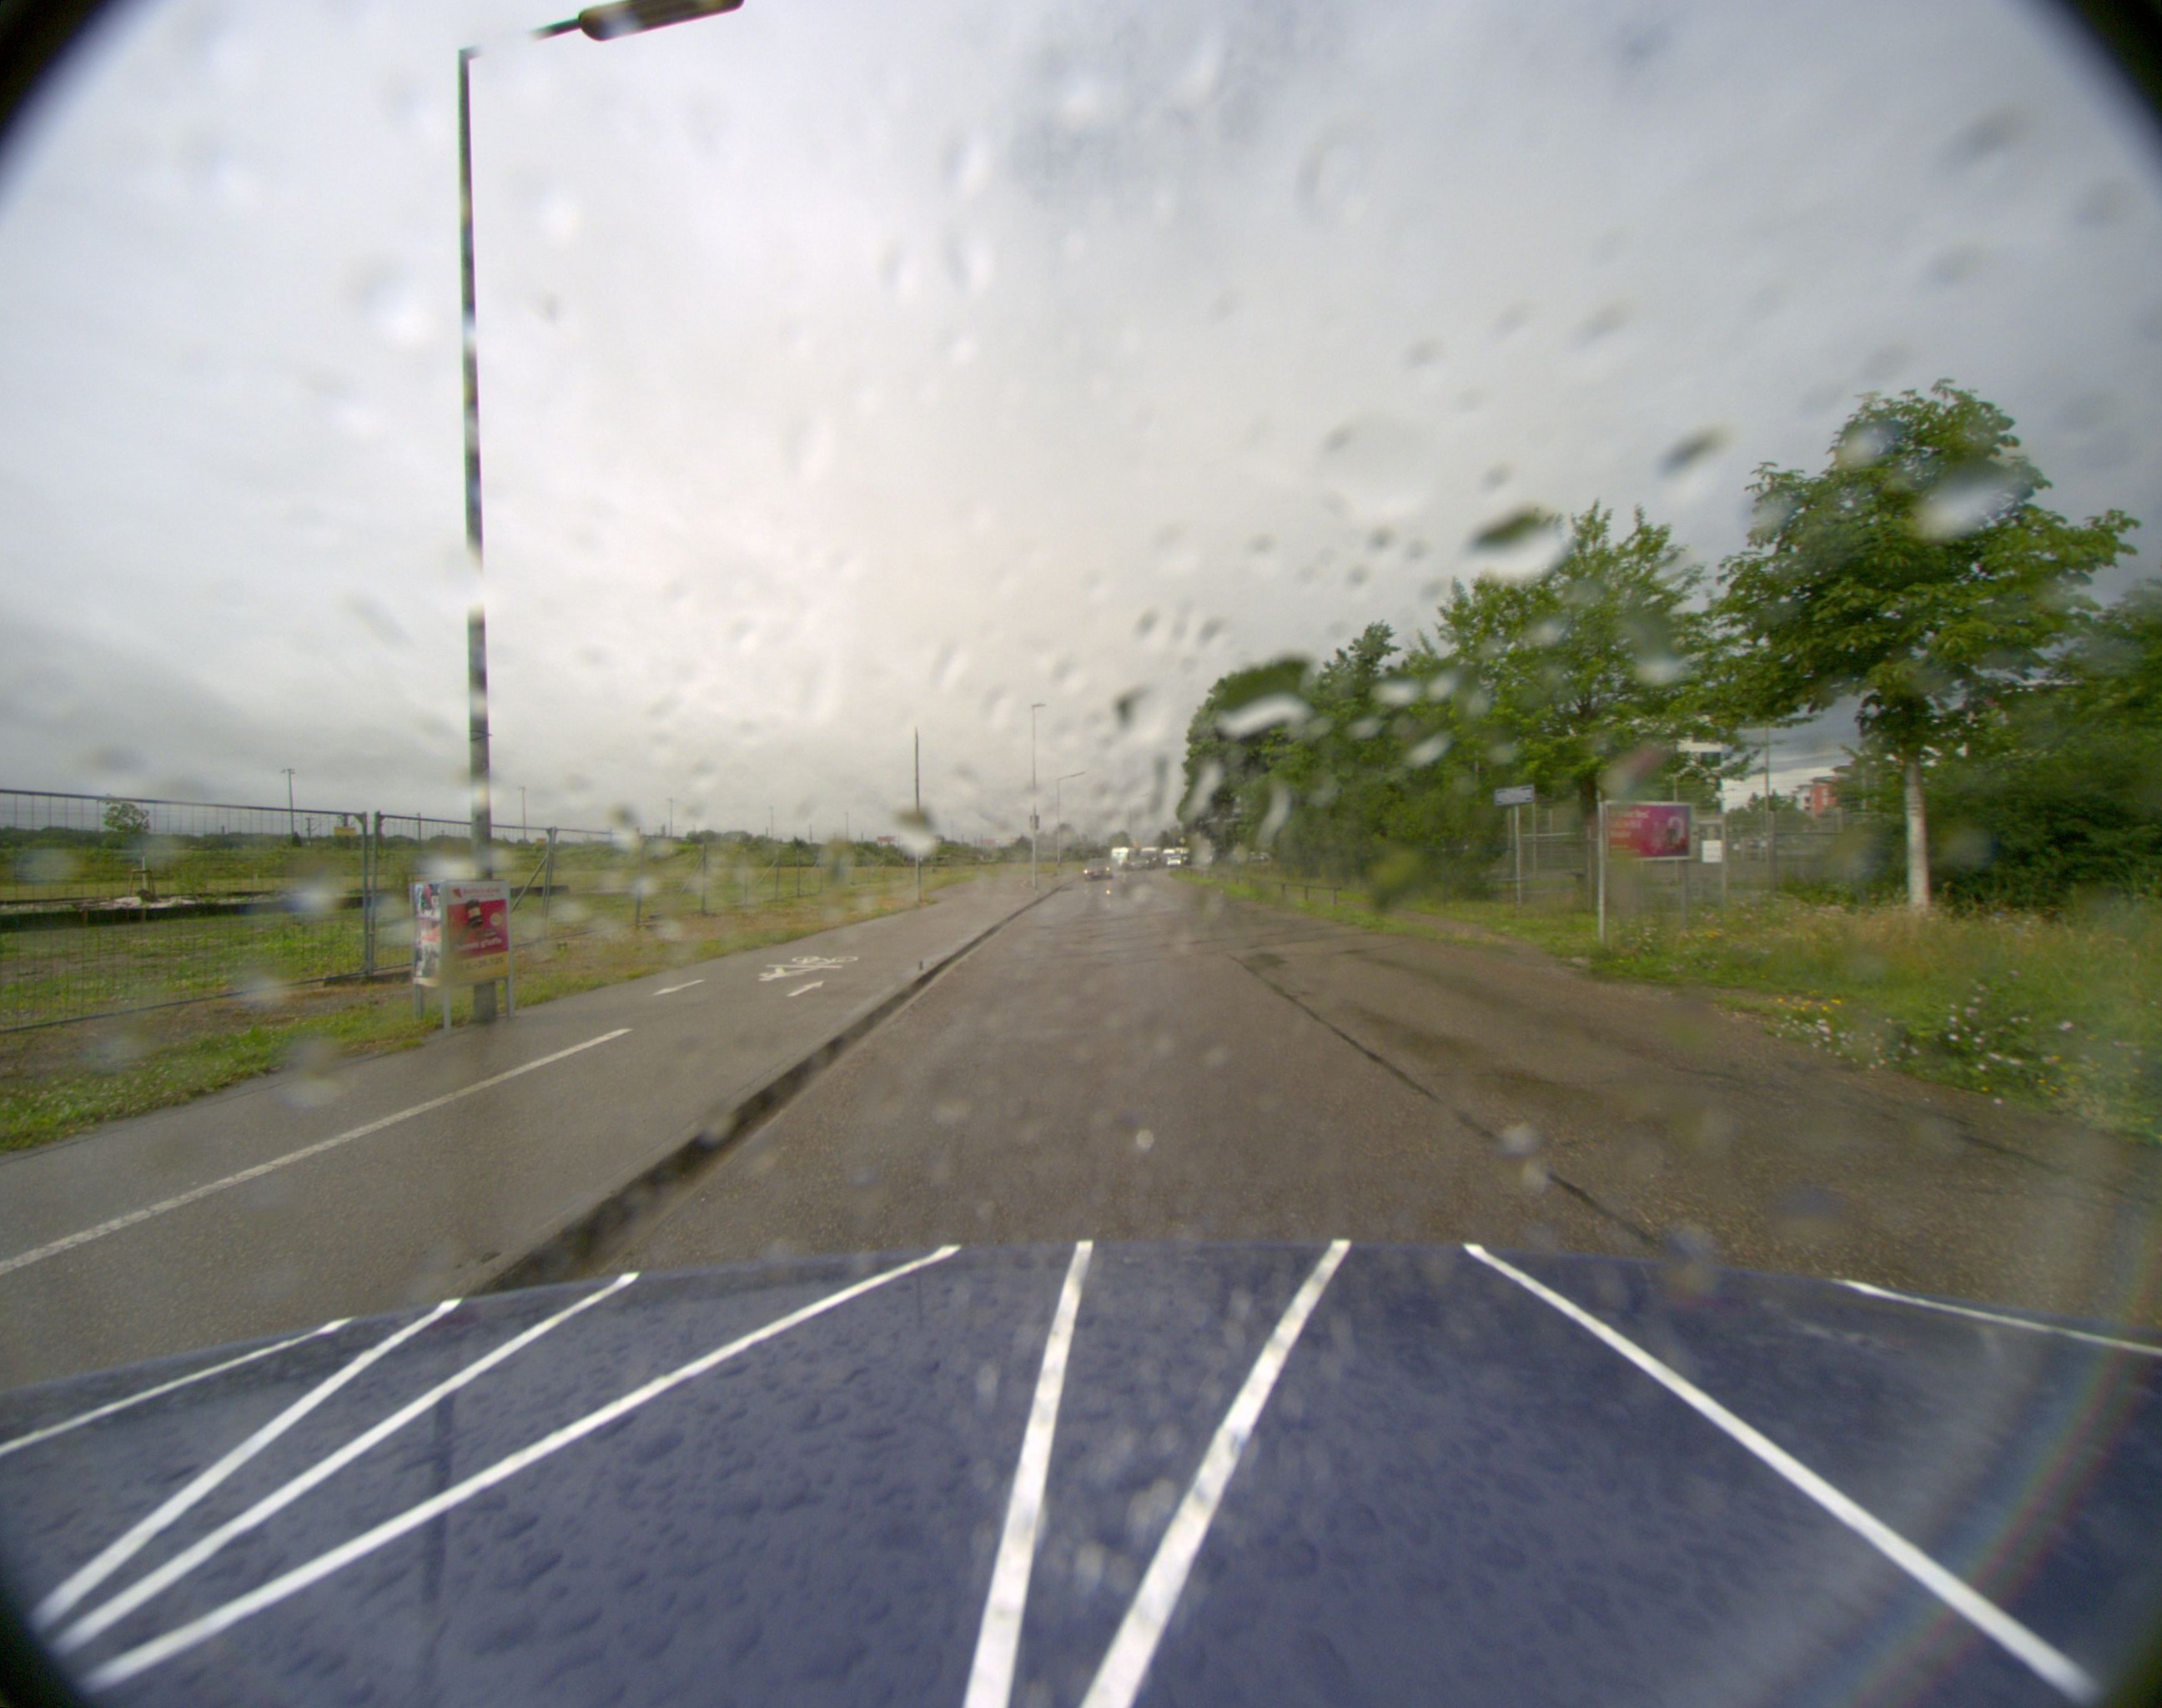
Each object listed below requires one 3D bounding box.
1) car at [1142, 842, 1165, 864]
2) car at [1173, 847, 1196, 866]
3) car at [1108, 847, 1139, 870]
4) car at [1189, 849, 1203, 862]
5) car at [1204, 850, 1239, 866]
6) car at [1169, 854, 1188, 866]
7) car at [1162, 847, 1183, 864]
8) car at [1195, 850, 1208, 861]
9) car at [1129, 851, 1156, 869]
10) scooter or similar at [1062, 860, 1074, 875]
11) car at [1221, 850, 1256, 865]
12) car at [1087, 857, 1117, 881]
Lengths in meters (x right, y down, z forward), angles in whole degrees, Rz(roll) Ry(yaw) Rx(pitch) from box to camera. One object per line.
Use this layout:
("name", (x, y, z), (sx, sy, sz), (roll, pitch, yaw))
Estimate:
("car", (9.607, -0.161, 100.383), (2.147, 2.867, 5.282), (2, 1, 15))
("car", (16.969, 0.390, 124.753), (2.473, 2.938, 6.896), (0, 0, 19))
("car", (4.700, 0.463, 83.009), (2.094, 2.458, 5.954), (0, 1, 16))
("car", (20.810, 0.232, 137.364), (1.996, 2.228, 4.569), (-1, 0, 16))
("car", (17.021, 0.514, 91.851), (3.815, 1.623, 1.757), (-4, 0, 18))
("car", (12.862, 0.754, 100.282), (1.839, 1.510, 4.362), (-1, 0, 16))
("car", (13.957, 0.276, 115.555), (2.071, 2.514, 6.666), (1, 0, 18))
("car", (24.081, 0.331, 151.905), (1.996, 2.228, 4.569), (-1, 0, 16))
("car", (6.387, 0.632, 78.513), (2.008, 1.695, 4.333), (-3, 0, 13))
("scooter or similar", (-1.135, 1.185, 66.543), (0.491, 1.208, 1.342), (-1, 0, 25))
("car", (20.069, 0.439, 96.862), (4.178, 1.540, 1.862), (-4, 0, 15))
("car", (1.456, 0.983, 51.056), (1.873, 1.510, 4.359), (-1, -1, 3))
